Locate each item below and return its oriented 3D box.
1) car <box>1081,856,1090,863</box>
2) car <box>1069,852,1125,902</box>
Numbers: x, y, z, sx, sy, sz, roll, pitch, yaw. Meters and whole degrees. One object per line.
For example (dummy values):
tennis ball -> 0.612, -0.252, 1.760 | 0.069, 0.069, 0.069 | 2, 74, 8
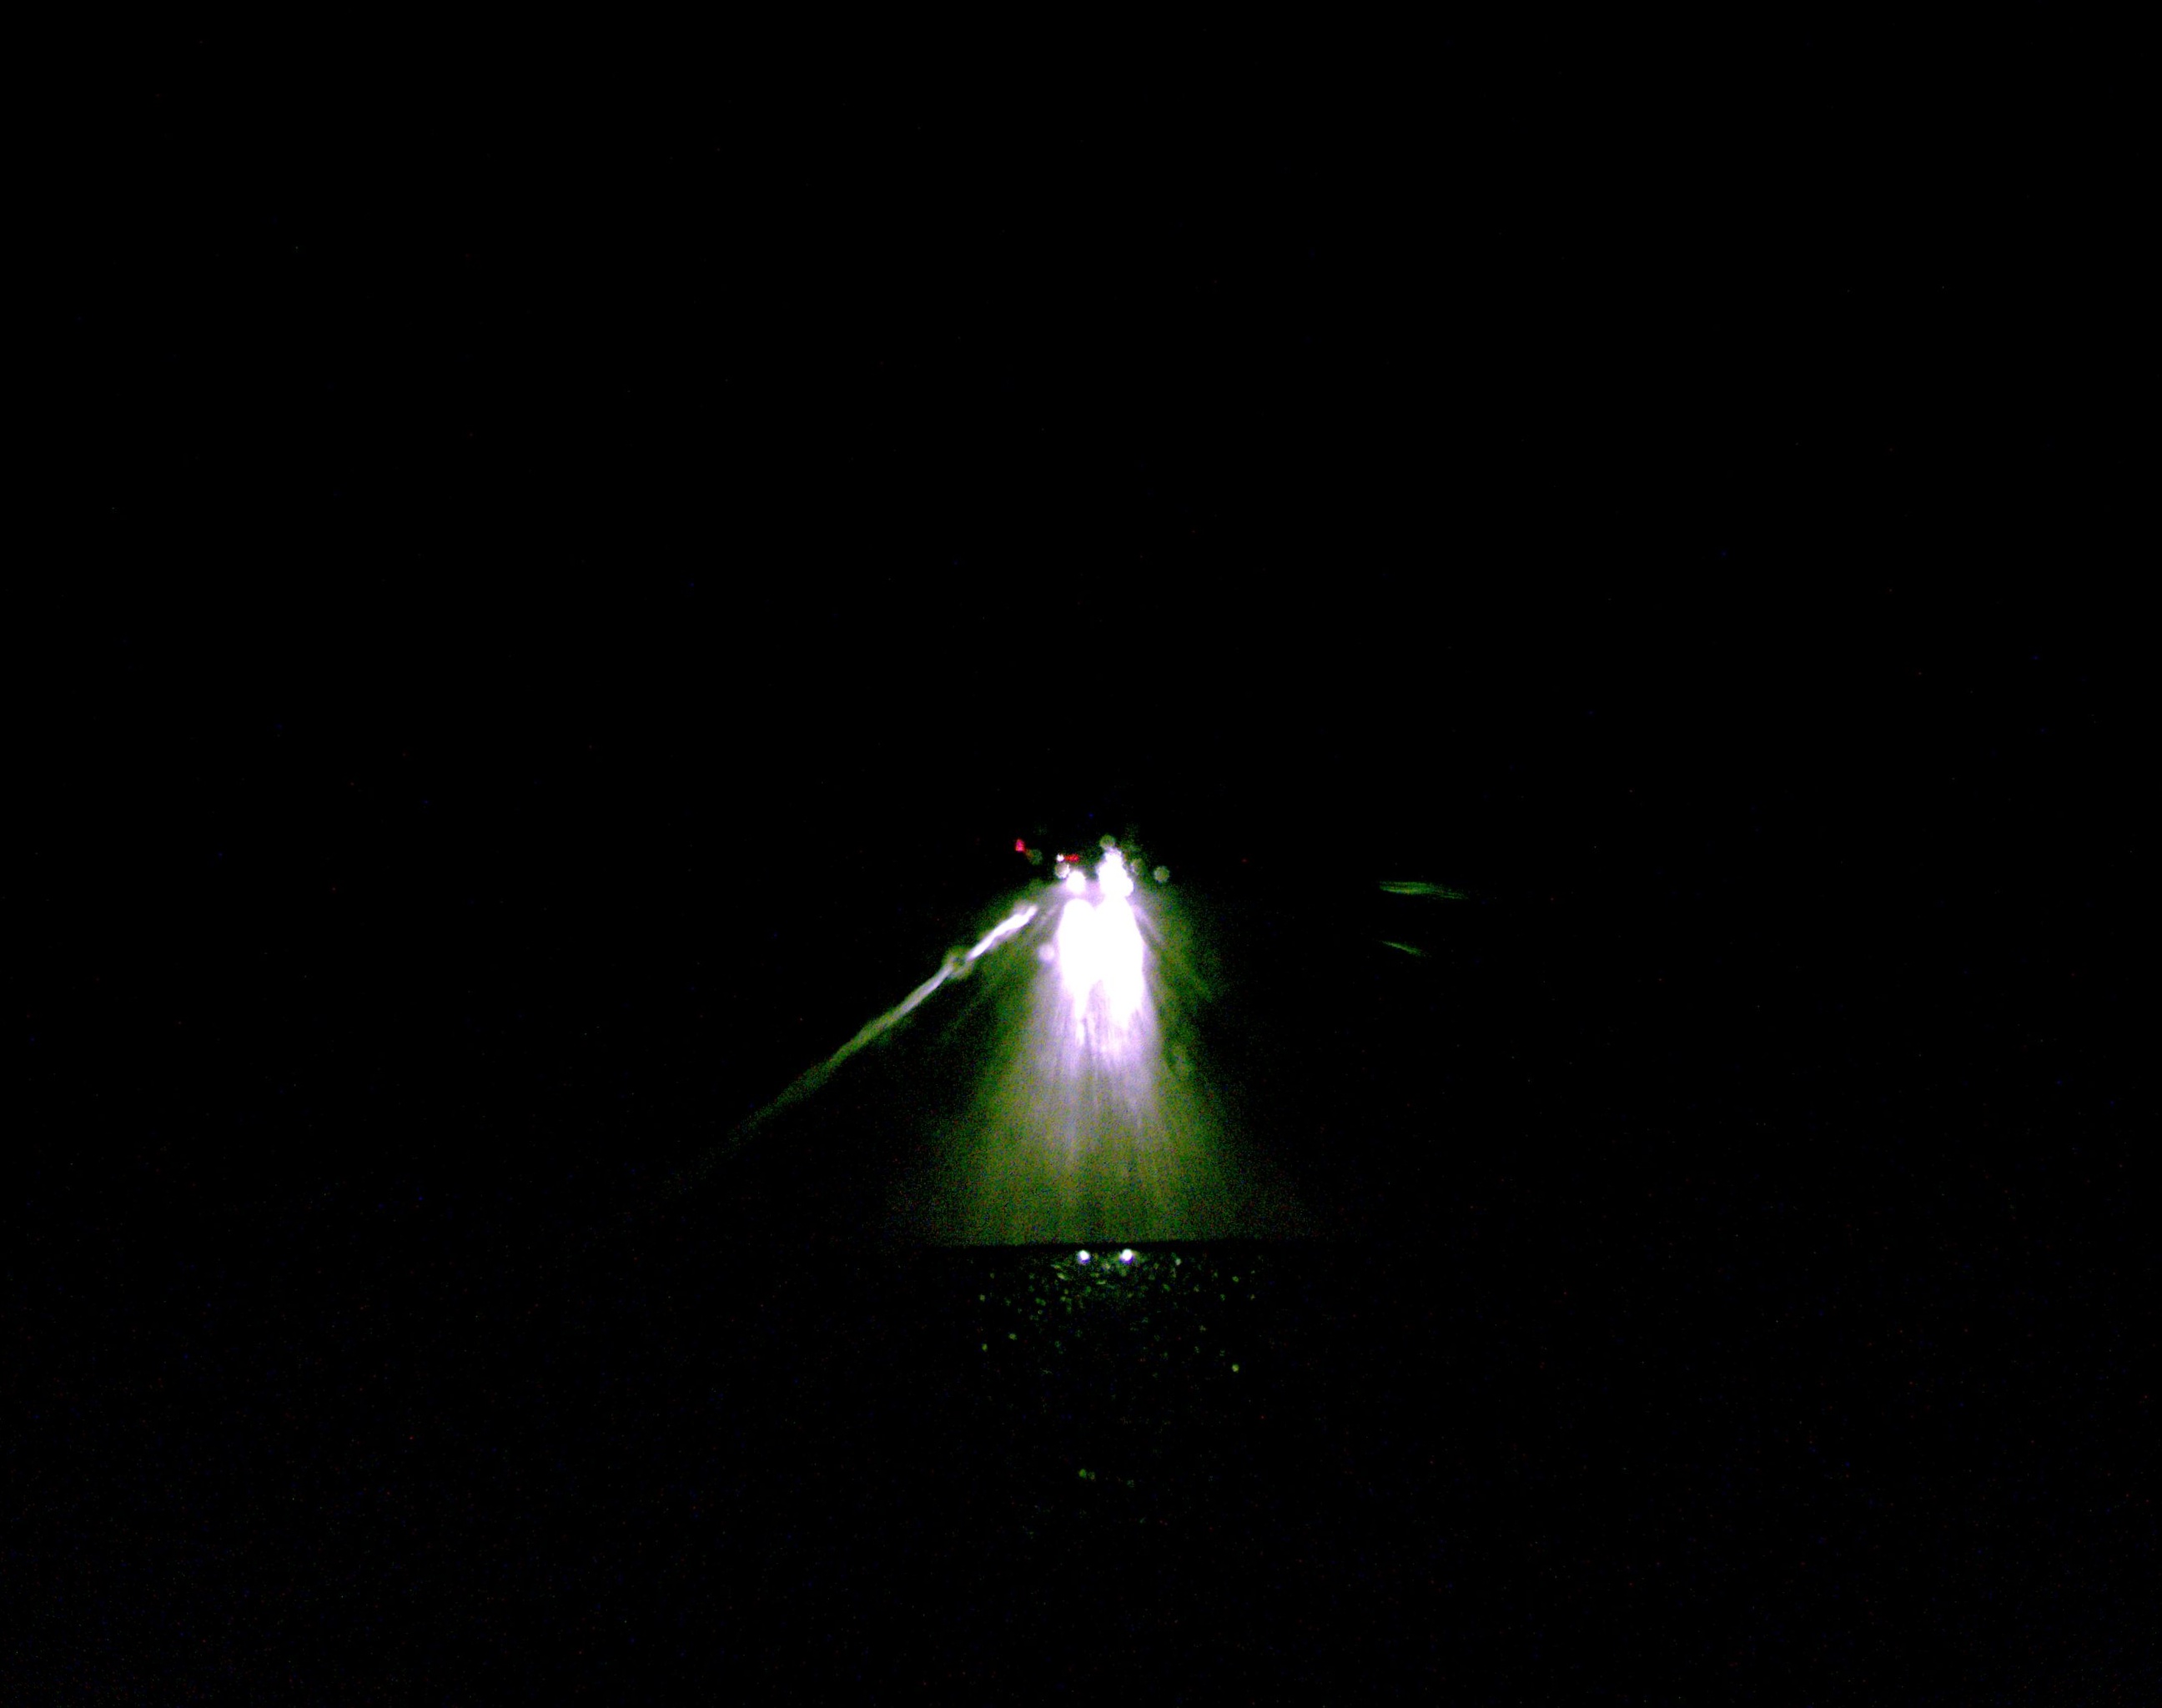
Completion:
car -> 1.127, 1.389, 188.360 | 1.894, 1.628, 4.155 | -4, 1, -1
car -> 0.580, 0.811, 28.797 | 1.863, 1.601, 4.420 | -5, 0, 0
